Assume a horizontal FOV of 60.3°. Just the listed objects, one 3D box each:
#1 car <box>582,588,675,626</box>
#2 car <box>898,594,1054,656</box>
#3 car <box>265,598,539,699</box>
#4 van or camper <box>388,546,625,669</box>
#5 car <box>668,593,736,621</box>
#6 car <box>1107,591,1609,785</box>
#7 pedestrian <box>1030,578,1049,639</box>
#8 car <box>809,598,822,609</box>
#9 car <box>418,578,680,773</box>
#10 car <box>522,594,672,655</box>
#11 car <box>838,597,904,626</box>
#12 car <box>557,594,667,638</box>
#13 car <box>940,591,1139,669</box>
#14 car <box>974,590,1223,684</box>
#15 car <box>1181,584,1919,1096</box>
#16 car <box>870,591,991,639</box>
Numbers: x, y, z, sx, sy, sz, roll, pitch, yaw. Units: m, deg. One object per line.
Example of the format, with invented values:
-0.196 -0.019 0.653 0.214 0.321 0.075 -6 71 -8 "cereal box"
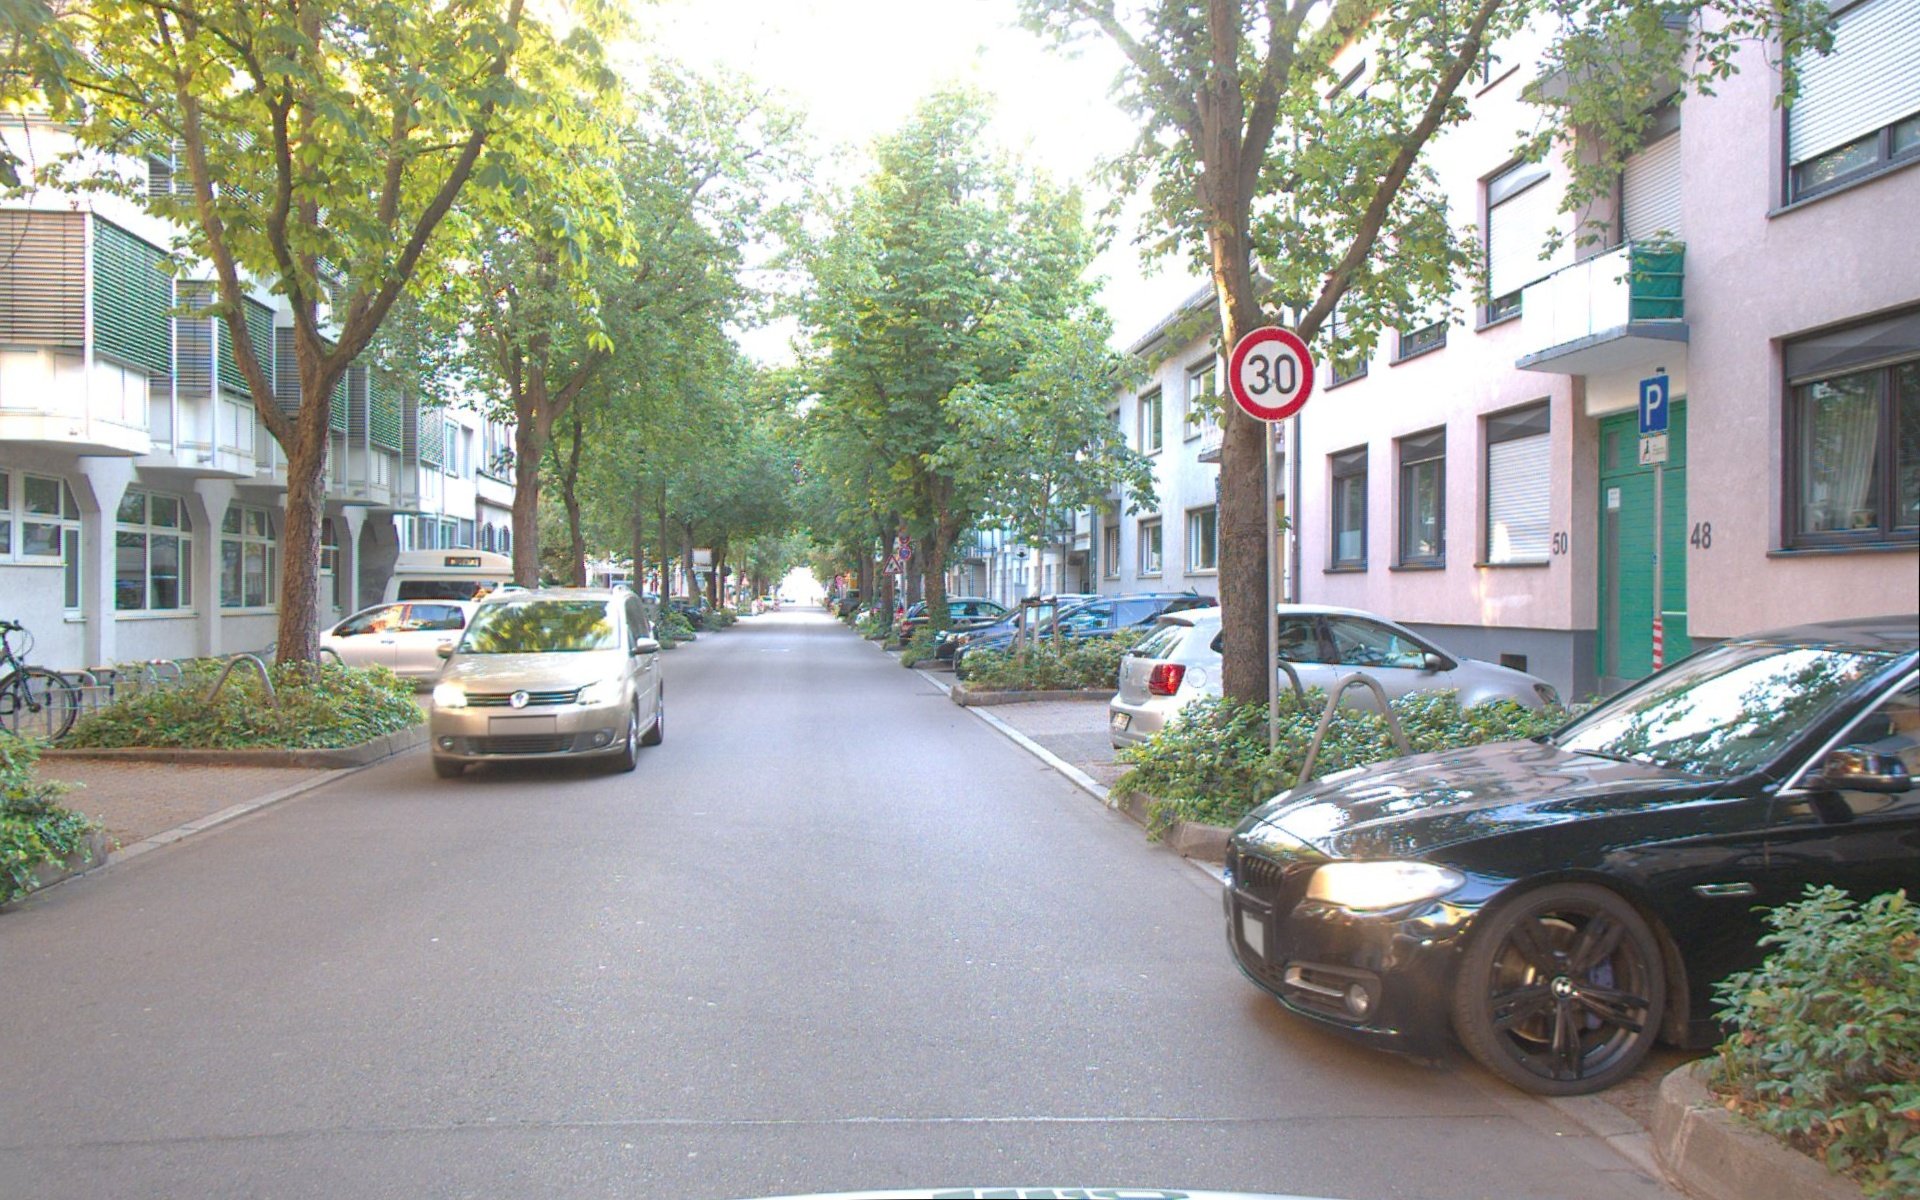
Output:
-14.896 0.320 74.403 3.890 1.647 1.783 0 0 -4 "car"
0.390 0.623 43.041 3.891 1.554 1.783 0 0 -6 "car"
-9.008 0.758 26.942 3.890 1.544 1.783 0 0 -5 "car"
-9.590 0.144 35.267 4.573 2.521 1.998 0 0 -6 "van or camper"
-15.605 0.440 100.235 3.890 1.647 1.783 0 0 -4 "car"
3.304 0.690 14.106 3.835 1.502 1.662 0 0 -7 "car"
2.670 0.293 55.637 0.577 2.049 0.669 0 0 -4 "pedestrian"
-20.430 0.478 233.362 1.787 1.557 3.996 1 0 -5 "car"
-3.734 0.610 15.718 1.744 1.589 4.164 0 0 -5 "car"
-10.106 0.675 46.266 3.890 1.647 1.783 0 0 -5 "car"
-5.333 0.677 98.948 3.890 1.713 1.783 0 0 -4 "car"
-13.173 0.590 62.779 3.890 1.647 1.783 0 0 -4 "car"
1.599 0.594 34.212 3.891 1.554 1.783 0 0 -6 "car"
2.271 0.591 27.718 3.893 1.502 1.782 0 0 -7 "car"
3.287 0.700 6.015 4.653 1.506 1.798 0 0 -6 "car"
-1.004 0.477 54.929 3.892 1.554 1.782 0 0 -7 "car"
